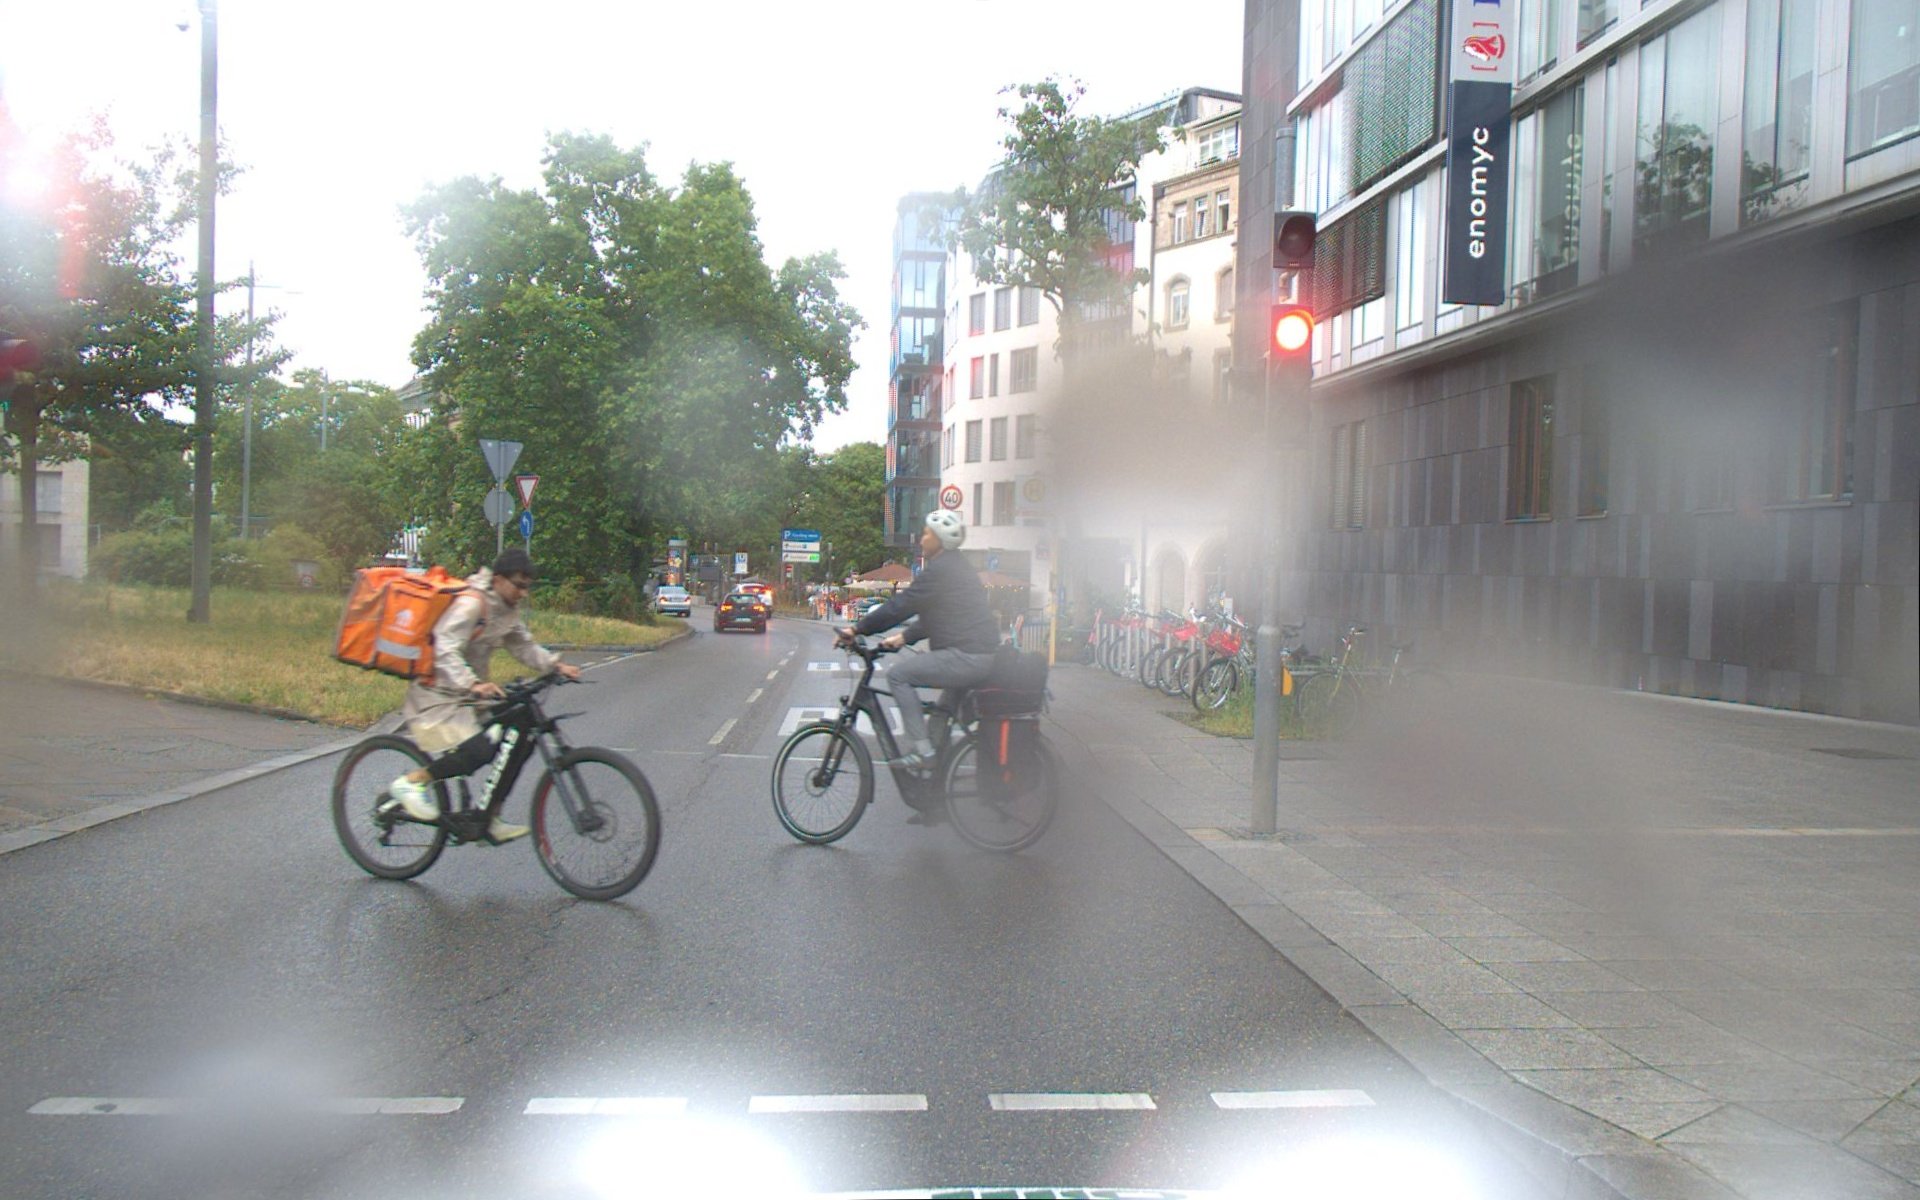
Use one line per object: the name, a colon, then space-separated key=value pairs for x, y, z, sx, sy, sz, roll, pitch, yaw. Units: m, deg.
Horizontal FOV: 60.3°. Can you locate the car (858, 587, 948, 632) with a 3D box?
car: x=-2.651 y=0.427 z=76.464 sx=3.911 sy=1.675 sz=1.998 roll=6 pitch=0 yaw=-6

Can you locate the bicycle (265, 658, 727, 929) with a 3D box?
bicycle: x=-2.298 y=0.886 z=8.205 sx=2.020 sy=1.133 sz=1.011 roll=1 pitch=-2 yaw=26

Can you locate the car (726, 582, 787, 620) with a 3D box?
car: x=-10.083 y=0.045 z=81.836 sx=2.147 sy=1.730 sz=3.977 roll=2 pitch=0 yaw=-20

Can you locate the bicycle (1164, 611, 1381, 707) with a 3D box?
bicycle: x=3.765 y=0.712 z=20.022 sx=2.486 sy=1.106 sz=0.677 roll=1 pitch=0 yaw=-6

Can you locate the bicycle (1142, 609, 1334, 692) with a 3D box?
bicycle: x=3.774 y=0.679 z=22.554 sx=2.486 sy=1.078 sz=0.677 roll=1 pitch=0 yaw=-6

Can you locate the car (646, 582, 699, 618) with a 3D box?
car: x=-14.141 y=-0.026 z=81.202 sx=1.915 sy=1.675 sz=4.223 roll=2 pitch=0 yaw=-18

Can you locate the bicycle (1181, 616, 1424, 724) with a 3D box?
bicycle: x=3.714 y=0.757 z=17.992 sx=2.487 sy=1.106 sz=0.677 roll=1 pitch=0 yaw=-6

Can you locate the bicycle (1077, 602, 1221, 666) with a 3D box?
bicycle: x=3.373 y=0.605 z=29.582 sx=2.486 sy=1.106 sz=0.627 roll=1 pitch=0 yaw=-6

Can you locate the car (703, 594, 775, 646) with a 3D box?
car: x=-8.126 y=0.692 z=60.538 sx=2.125 sy=1.735 sz=4.538 roll=2 pitch=0 yaw=-13

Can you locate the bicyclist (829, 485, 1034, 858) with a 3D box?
bicyclist: x=-0.154 y=0.399 z=9.867 sx=1.058 sy=2.119 sz=0.764 roll=1 pitch=0 yaw=11

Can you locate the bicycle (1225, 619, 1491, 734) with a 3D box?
bicycle: x=3.959 y=0.755 z=16.519 sx=2.487 sy=1.075 sz=0.677 roll=1 pitch=0 yaw=-6

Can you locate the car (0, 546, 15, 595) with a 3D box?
car: x=-30.335 y=-0.953 z=49.838 sx=1.772 sy=1.512 sz=4.373 roll=3 pitch=0 yaw=-10

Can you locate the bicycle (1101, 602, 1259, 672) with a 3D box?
bicycle: x=3.611 y=0.608 z=27.227 sx=2.486 sy=1.106 sz=0.677 roll=1 pitch=0 yaw=-6

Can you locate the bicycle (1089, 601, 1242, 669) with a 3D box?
bicycle: x=3.476 y=0.591 z=28.114 sx=2.486 sy=1.106 sz=0.677 roll=1 pitch=0 yaw=-6

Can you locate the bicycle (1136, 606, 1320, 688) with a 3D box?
bicycle: x=3.789 y=0.661 z=23.463 sx=2.486 sy=1.106 sz=0.677 roll=1 pitch=0 yaw=-6

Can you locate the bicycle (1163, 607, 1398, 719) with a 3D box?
bicycle: x=3.627 y=0.712 z=18.795 sx=2.487 sy=1.106 sz=0.677 roll=3 pitch=0 yaw=-6

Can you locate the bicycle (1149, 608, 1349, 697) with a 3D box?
bicycle: x=3.781 y=0.681 z=21.688 sx=2.486 sy=1.106 sz=0.677 roll=1 pitch=0 yaw=-6

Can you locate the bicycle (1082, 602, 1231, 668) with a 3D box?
bicycle: x=3.419 y=0.599 z=28.861 sx=2.486 sy=1.106 sz=0.677 roll=1 pitch=0 yaw=-6

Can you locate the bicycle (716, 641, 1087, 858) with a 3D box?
bicycle: x=-0.330 y=0.858 z=9.902 sx=2.080 sy=1.165 sz=0.764 roll=1 pitch=0 yaw=11

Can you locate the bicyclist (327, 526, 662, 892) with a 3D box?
bicyclist: x=-2.282 y=0.496 z=8.186 sx=1.110 sy=1.609 sz=1.014 roll=4 pitch=0 yaw=26

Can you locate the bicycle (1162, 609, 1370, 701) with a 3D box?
bicycle: x=3.849 y=0.690 z=20.878 sx=2.486 sy=1.106 sz=0.677 roll=1 pitch=0 yaw=-6

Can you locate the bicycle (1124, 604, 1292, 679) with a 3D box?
bicycle: x=3.836 y=0.636 z=25.639 sx=2.486 sy=1.106 sz=0.677 roll=1 pitch=0 yaw=-6

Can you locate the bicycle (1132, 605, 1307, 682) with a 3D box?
bicycle: x=3.862 y=0.642 z=24.661 sx=2.486 sy=1.106 sz=0.677 roll=1 pitch=0 yaw=-6

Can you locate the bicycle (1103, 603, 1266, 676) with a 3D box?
bicycle: x=3.588 y=0.627 z=26.475 sx=2.486 sy=1.106 sz=0.677 roll=1 pitch=0 yaw=-6
